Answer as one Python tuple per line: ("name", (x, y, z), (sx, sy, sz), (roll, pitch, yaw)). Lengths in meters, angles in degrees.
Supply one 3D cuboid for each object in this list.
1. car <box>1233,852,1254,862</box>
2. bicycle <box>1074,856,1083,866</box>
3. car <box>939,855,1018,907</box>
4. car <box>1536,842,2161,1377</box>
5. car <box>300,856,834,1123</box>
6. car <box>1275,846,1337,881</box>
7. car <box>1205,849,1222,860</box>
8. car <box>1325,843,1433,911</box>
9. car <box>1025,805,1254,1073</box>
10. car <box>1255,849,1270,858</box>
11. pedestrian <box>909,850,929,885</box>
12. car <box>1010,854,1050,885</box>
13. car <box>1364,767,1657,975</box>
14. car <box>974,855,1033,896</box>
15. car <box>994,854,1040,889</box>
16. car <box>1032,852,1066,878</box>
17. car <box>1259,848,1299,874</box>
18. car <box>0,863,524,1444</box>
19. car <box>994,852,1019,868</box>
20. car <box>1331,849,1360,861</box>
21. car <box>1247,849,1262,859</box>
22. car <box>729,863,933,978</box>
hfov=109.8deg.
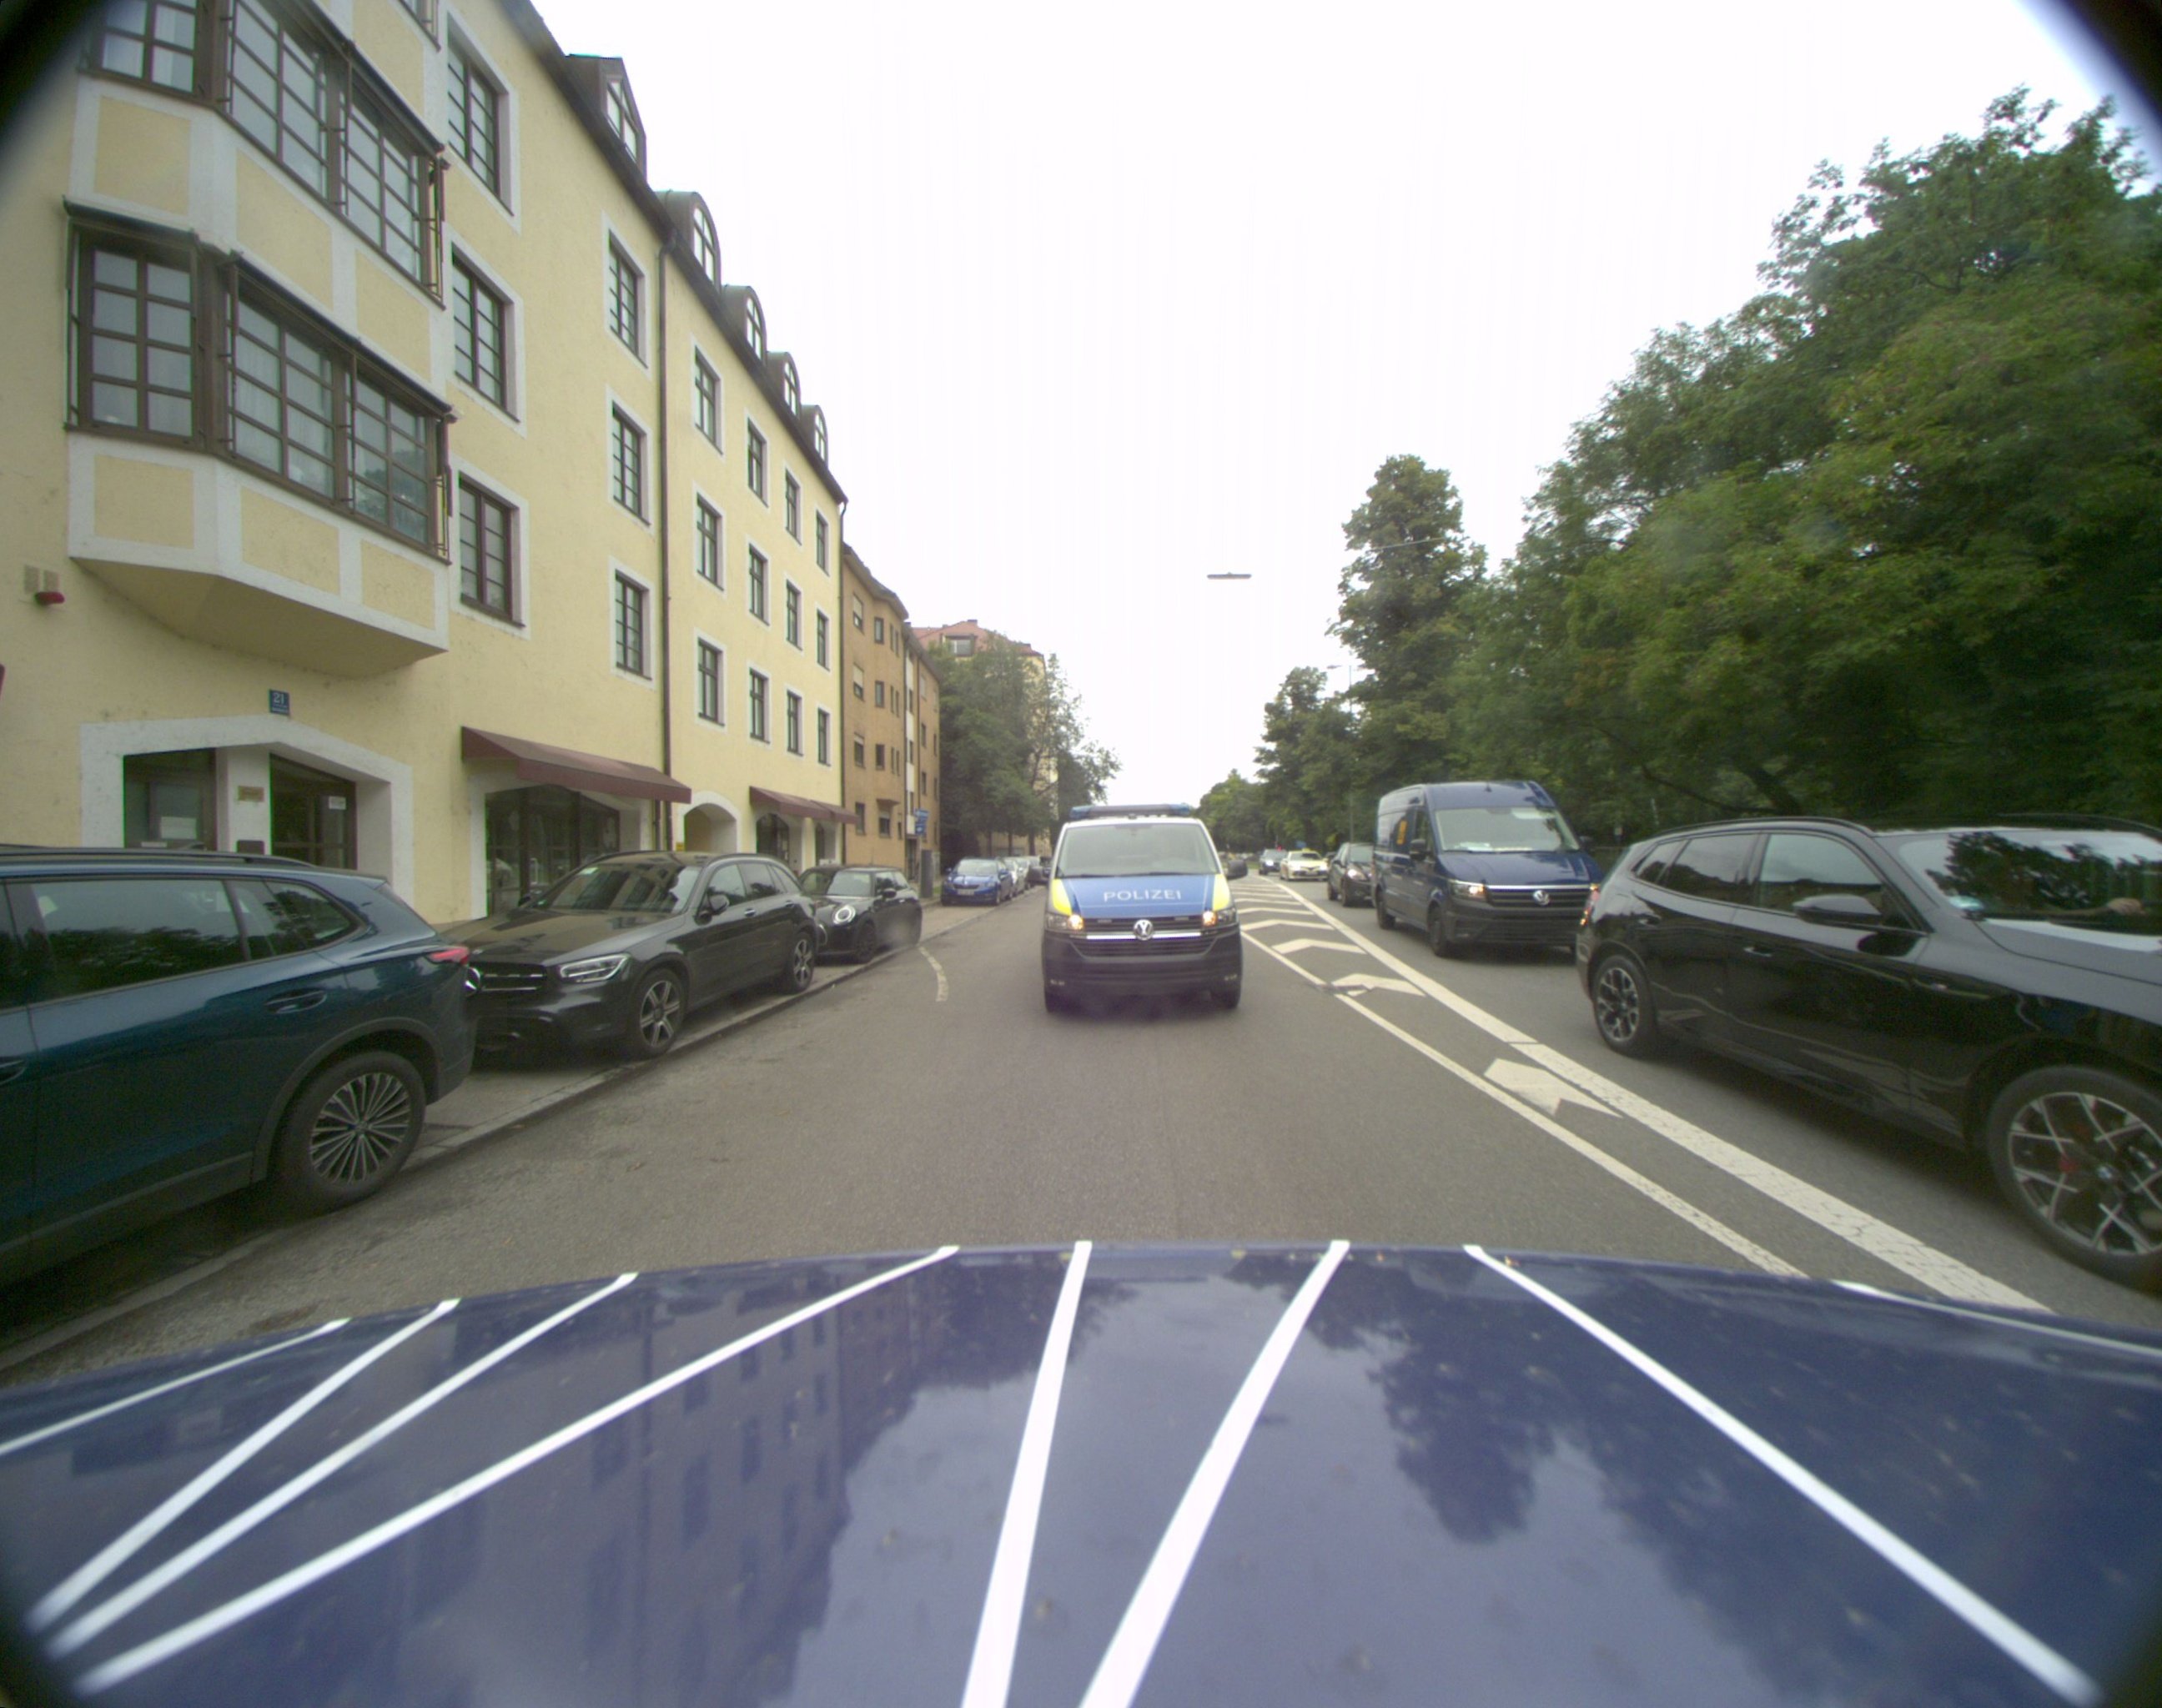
("car", (24.588, 0.444, 115.153), (1.999, 1.438, 4.524), (0, 0, -2))
("bicycle", (-0.259, 0.704, 78.673), (0.632, 1.031, 1.736), (0, 0, 7))
("car", (-3.223, 0.802, 24.695), (1.760, 1.487, 4.488), (1, 0, 3))
("car", (4.446, 0.757, 3.838), (1.917, 1.577, 4.832), (-1, 1, 7))
("car", (-4.109, 0.881, 7.275), (1.760, 1.669, 4.707), (1, 0, 2))
("car", (10.659, 0.411, 36.267), (1.991, 1.556, 4.656), (0, 0, 6))
("car", (23.563, 0.096, 135.524), (1.999, 1.742, 4.524), (-2, 0, -2))
("car", (7.858, 0.539, 20.432), (1.990, 1.618, 4.277), (0, 0, 11))
("car", (0.569, 0.661, 8.511), (1.856, 2.198, 4.553), (-1, 1, 2))
("car", (33.271, -0.114, 139.415), (1.885, 1.736, 4.000), (-1, 0, 1))
("pedestrian", (-7.641, 0.634, 35.854), (0.672, 1.614, 0.980), (-1, 2, 3))
("car", (-2.639, 0.754, 39.715), (1.631, 1.487, 3.821), (1, 0, 3))
("car", (6.205, 0.151, 12.032), (2.187, 2.450, 5.855), (0, 1, 10))
("car", (-2.974, 0.788, 30.031), (1.694, 1.487, 4.434), (1, 0, 2))
("car", (-2.887, 0.761, 34.936), (1.631, 1.487, 3.787), (1, 0, 3))
("car", (-1.974, 0.670, 48.571), (1.796, 1.488, 4.376), (2, 0, 2))
("car", (12.438, 0.390, 47.900), (1.991, 1.556, 4.276), (0, 0, 8))
("car", (-4.114, 0.909, 2.098), (1.823, 1.669, 4.510), (1, 0, 0))
("car", (-6.974, 0.568, 71.581), (2.053, 1.458, 4.244), (0, 0, -2))
("car", (33.584, 0.117, 96.662), (1.999, 1.438, 4.524), (0, 0, -2))
("car", (33.437, -0.010, 146.437), (1.866, 1.736, 4.000), (-1, 0, 1))
("car", (-3.822, 0.927, 12.366), (1.760, 1.487, 3.824), (1, 0, 5))
